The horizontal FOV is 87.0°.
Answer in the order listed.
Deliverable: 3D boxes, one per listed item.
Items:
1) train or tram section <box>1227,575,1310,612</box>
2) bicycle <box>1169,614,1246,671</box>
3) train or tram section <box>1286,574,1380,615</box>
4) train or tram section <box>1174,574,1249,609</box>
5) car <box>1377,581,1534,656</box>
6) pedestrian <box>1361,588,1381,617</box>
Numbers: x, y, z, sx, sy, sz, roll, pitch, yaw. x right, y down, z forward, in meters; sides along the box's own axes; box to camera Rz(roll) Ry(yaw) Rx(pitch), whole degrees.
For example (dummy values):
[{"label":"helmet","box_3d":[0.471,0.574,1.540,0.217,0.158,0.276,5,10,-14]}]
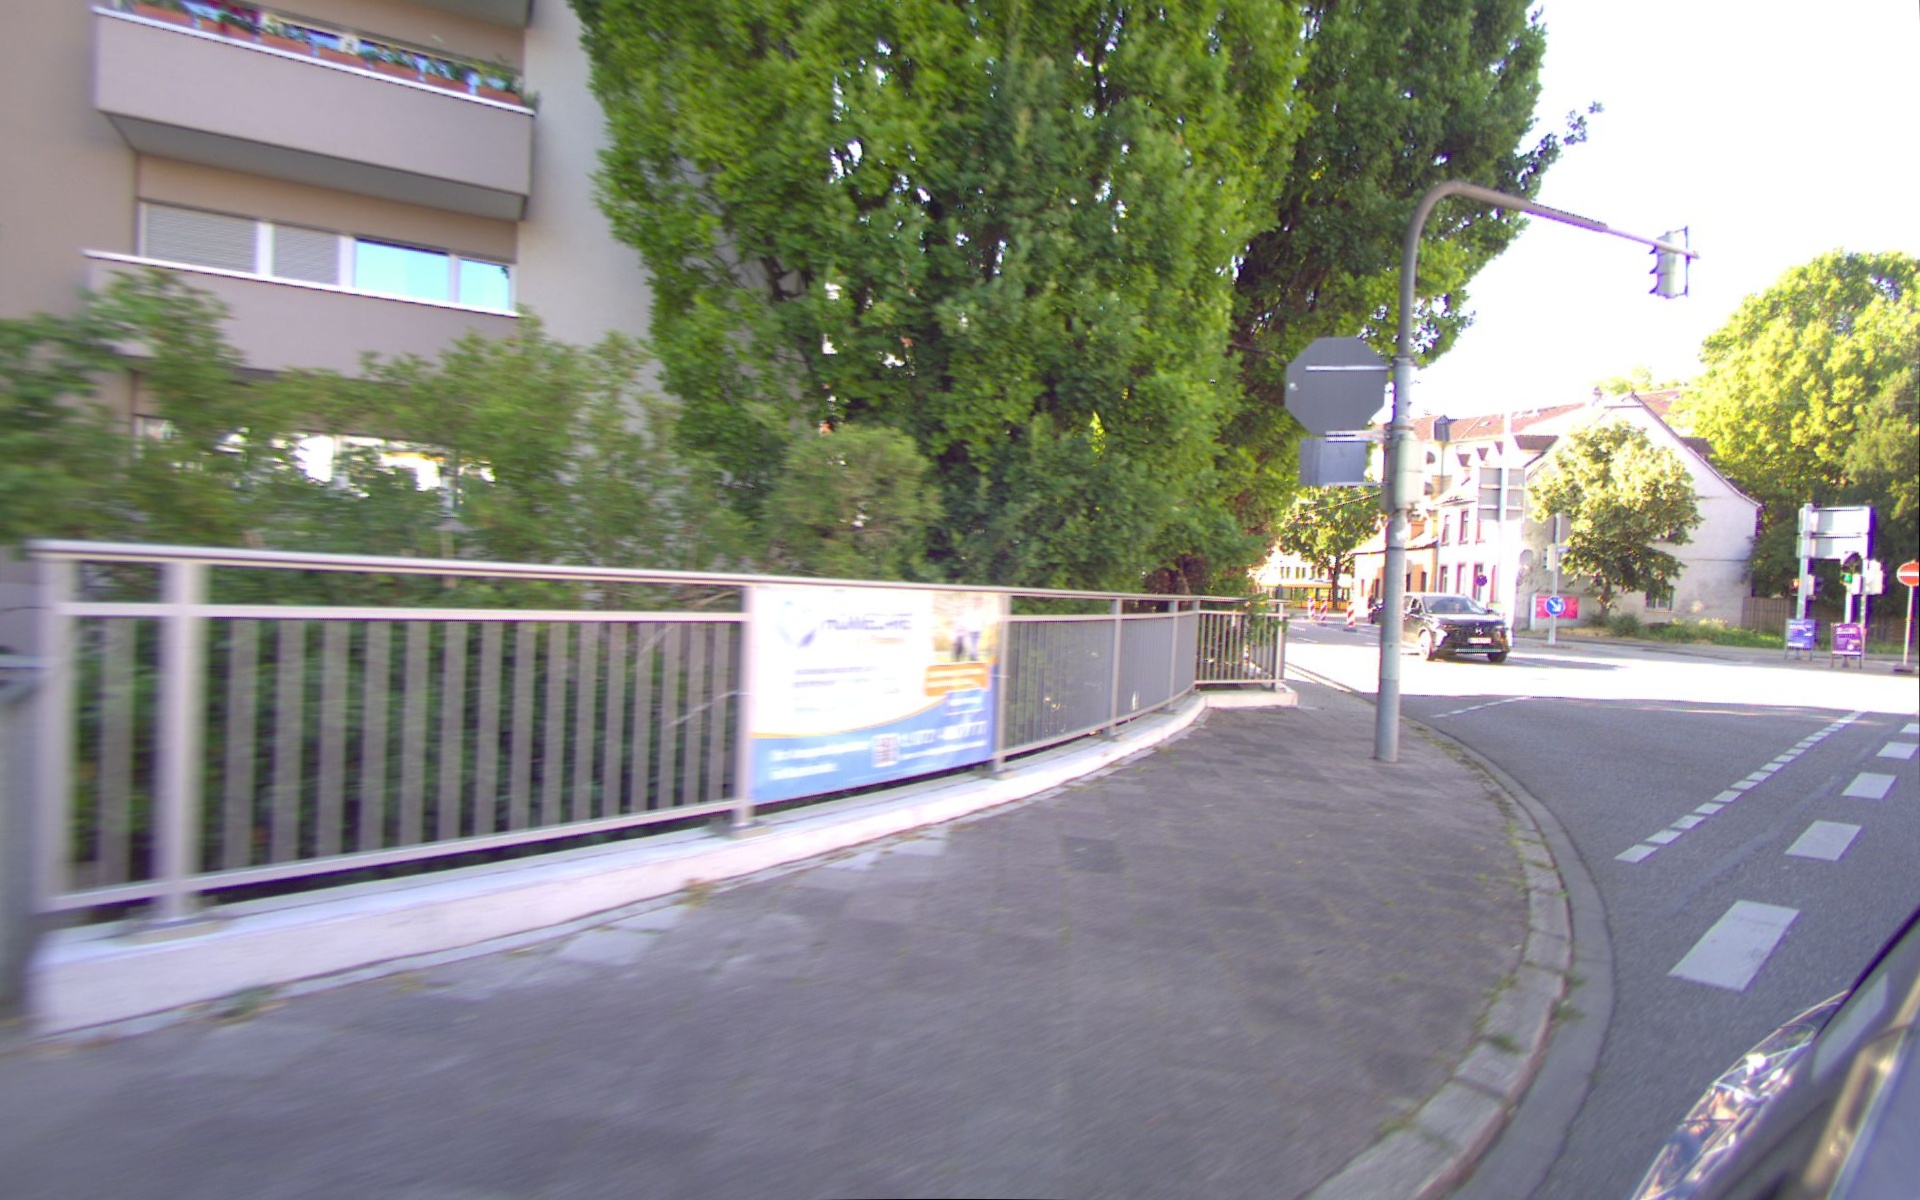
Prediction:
[{"label":"train or tram section","box_3d":[31.637,-0.775,104.301,2.739,3.563,9.287,2,0,-23]},{"label":"bicycle","box_3d":[4.359,0.740,17.800,1.271,0.915,0.407,2,0,18]},{"label":"train or tram section","box_3d":[35.180,-0.590,95.889,2.739,3.563,9.288,2,0,-22]},{"label":"train or tram section","box_3d":[27.960,-0.996,113.062,2.789,3.646,9.887,2,0,-22]},{"label":"car","box_3d":[12.295,0.380,25.506,1.964,1.691,4.659,0,1,5]},{"label":"pedestrian","box_3d":[26.668,0.166,65.694,0.943,1.861,1.284,2,0,13]}]
